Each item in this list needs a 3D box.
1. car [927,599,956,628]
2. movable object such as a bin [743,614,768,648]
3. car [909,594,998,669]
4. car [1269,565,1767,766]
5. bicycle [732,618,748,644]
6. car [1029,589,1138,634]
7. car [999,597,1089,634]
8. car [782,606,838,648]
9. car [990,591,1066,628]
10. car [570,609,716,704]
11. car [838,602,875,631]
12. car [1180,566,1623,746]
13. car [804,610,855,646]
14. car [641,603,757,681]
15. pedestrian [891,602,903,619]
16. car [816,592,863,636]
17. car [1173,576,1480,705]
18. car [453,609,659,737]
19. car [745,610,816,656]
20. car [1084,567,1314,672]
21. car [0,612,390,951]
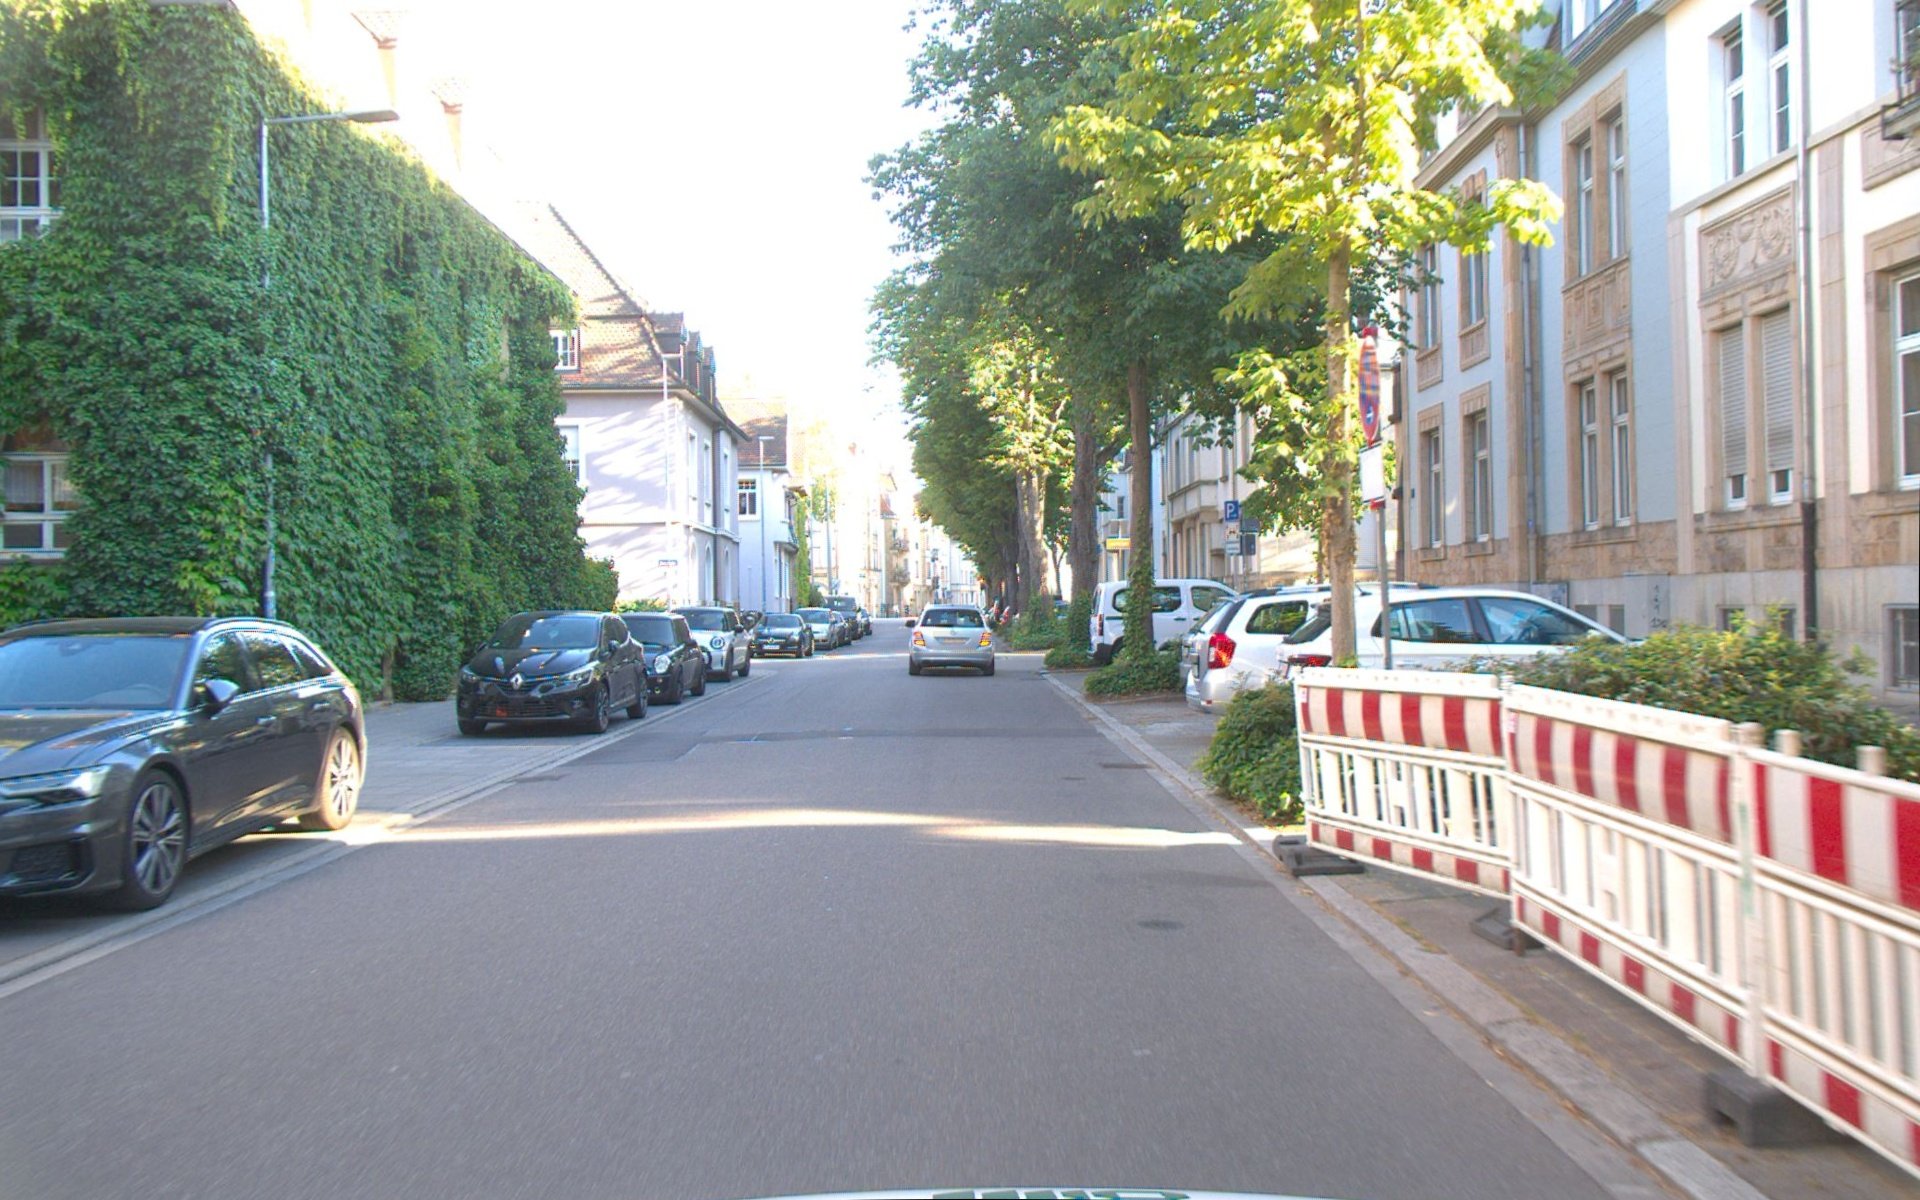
[{"bbox_3d":[-1.044,0.758,95.397,1.590,1.597,3.680,-1,0,0],"label":"car"},{"bbox_3d":[-8.050,1.215,65.049,0.707,1.306,2.096,-1,0,0],"label":"movable object such as a bin"},{"bbox_3d":[-0.119,0.644,34.416,1.747,1.462,3.850,0,-1,0],"label":"car"},{"bbox_3d":[4.731,0.542,14.464,3.771,1.488,1.687,-3,0,4],"label":"car"},{"bbox_3d":[-8.369,1.184,62.914,0.385,0.953,1.722,-1,0,0],"label":"bicycle"},{"bbox_3d":[4.515,0.427,60.680,3.719,1.463,1.747,-2,0,-5],"label":"car"},{"bbox_3d":[3.923,0.707,77.680,4.103,1.501,1.852,-3,-1,2],"label":"car"},{"bbox_3d":[-5.391,0.951,59.800,1.619,1.471,3.960,0,0,0],"label":"car"},{"bbox_3d":[3.849,0.550,94.276,4.135,1.929,1.904,-3,0,-3],"label":"car"},{"bbox_3d":[-5.052,0.860,26.773,1.652,1.404,3.720,0,0,0],"label":"car"},{"bbox_3d":[-5.443,0.853,87.426,1.660,1.472,4.357,0,0,0],"label":"car"},{"bbox_3d":[4.413,0.542,16.970,4.059,1.561,1.687,-3,0,1],"label":"car"},{"bbox_3d":[-5.070,1.078,64.604,1.499,1.342,4.227,0,-1,2],"label":"car"},{"bbox_3d":[-5.235,0.811,33.606,1.669,1.486,3.918,0,0,1],"label":"car"},{"bbox_3d":[-6.776,1.143,177.335,1.195,1.752,1.504,0,0,3],"label":"pedestrian"},{"bbox_3d":[-5.529,0.616,76.406,1.942,1.982,4.850,0,0,-1],"label":"car"},{"bbox_3d":[4.835,0.522,22.190,3.672,1.488,1.734,-3,0,-1],"label":"car"},{"bbox_3d":[-4.990,0.847,20.957,1.616,1.445,4.098,0,0,0],"label":"car"},{"bbox_3d":[-5.490,0.999,51.054,1.619,1.347,4.046,0,-1,2],"label":"car"},{"bbox_3d":[4.728,0.379,33.148,4.227,1.838,2.000,-3,0,-1],"label":"car"},{"bbox_3d":[-4.967,0.833,9.781,1.756,1.487,4.774,0,0,-3],"label":"car"}]
